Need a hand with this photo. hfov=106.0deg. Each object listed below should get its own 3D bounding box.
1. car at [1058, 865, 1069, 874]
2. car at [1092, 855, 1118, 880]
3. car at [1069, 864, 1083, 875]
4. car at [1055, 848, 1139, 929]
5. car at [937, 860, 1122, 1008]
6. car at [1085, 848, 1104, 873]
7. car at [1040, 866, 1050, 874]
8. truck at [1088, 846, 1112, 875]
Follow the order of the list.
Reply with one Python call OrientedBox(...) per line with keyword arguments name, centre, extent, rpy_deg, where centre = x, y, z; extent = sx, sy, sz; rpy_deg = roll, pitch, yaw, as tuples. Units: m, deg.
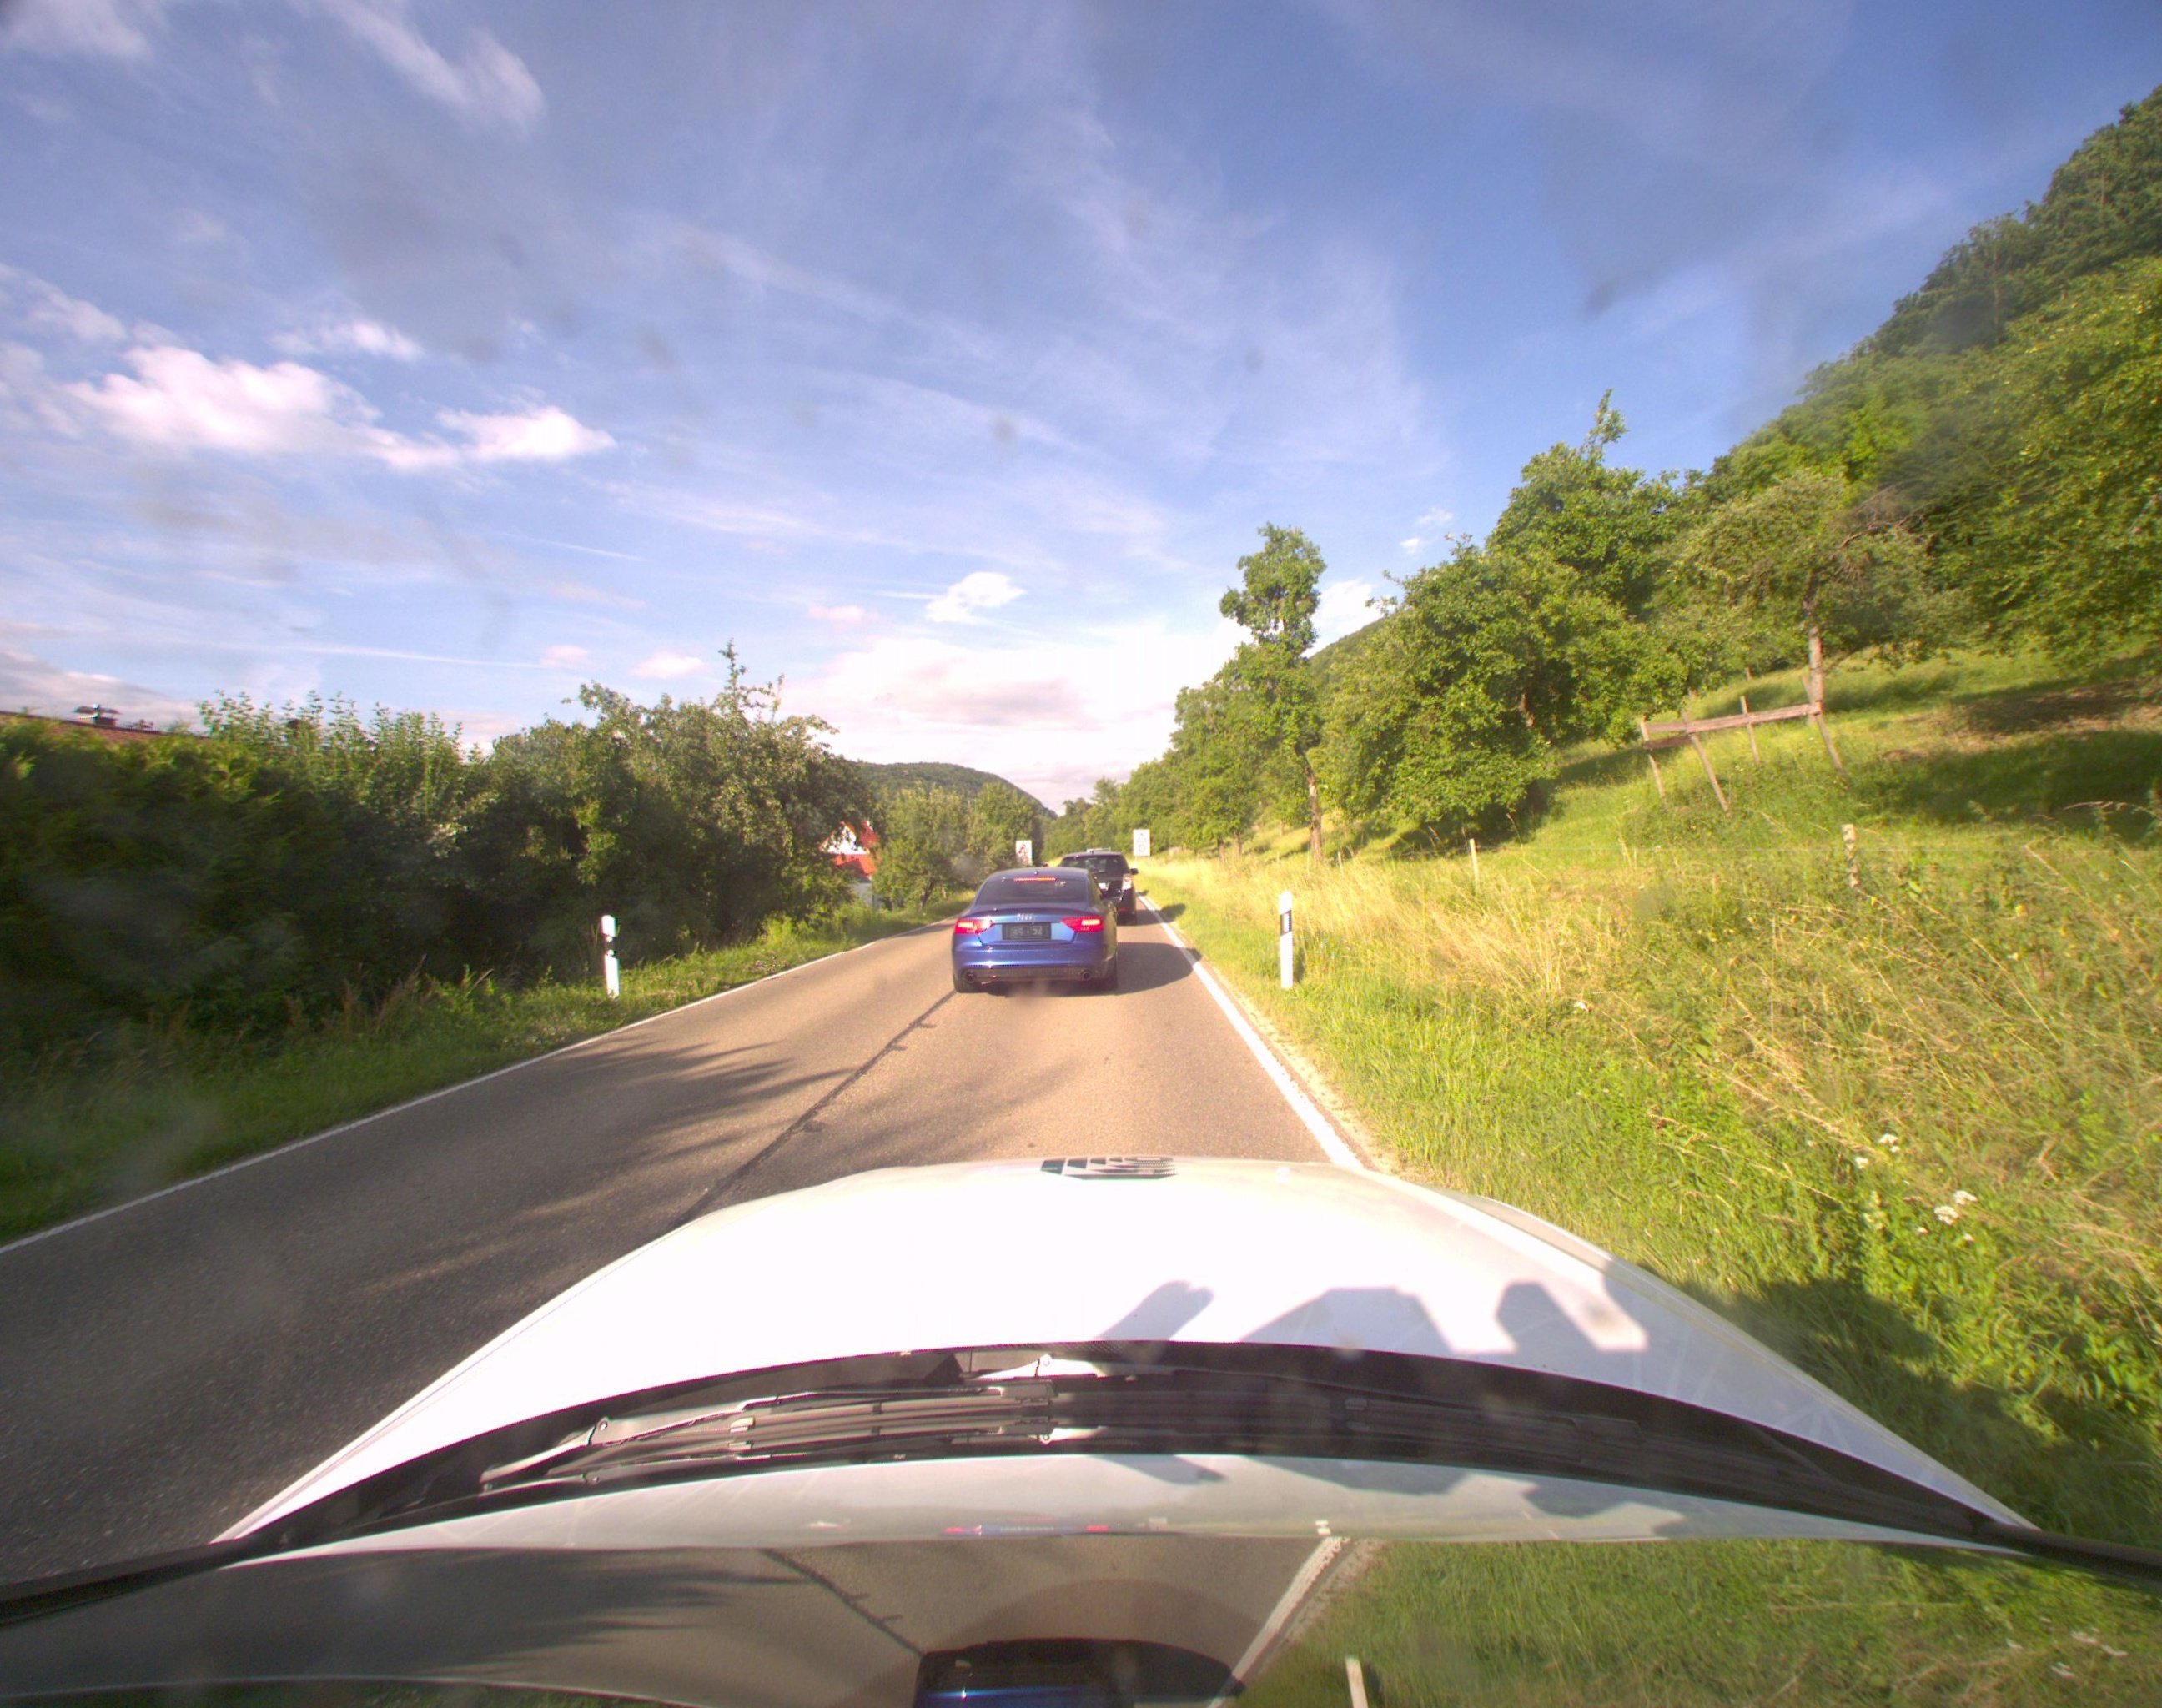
OrientedBox(name="car", centre=(-2.977, 2.699, 141.127), extent=(1.557, 1.496, 3.769), rpy_deg=(0, 0, -7))
OrientedBox(name="car", centre=(1.661, 0.889, 55.822), extent=(1.686, 1.624, 3.790), rpy_deg=(-1, 0, 2))
OrientedBox(name="car", centre=(-0.803, 2.387, 125.985), extent=(1.745, 1.496, 3.770), rpy_deg=(0, 0, -6))
OrientedBox(name="car", centre=(0.382, 0.702, 18.431), extent=(1.686, 1.624, 3.790), rpy_deg=(-1, 0, 2))
OrientedBox(name="car", centre=(-0.426, 0.802, 10.144), extent=(1.799, 1.382, 4.217), rpy_deg=(-1, 0, 2))
OrientedBox(name="car", centre=(1.309, 0.642, 80.283), extent=(1.787, 2.453, 3.917), rpy_deg=(0, 0, -1))
OrientedBox(name="car", centre=(-7.435, 3.255, 166.320), extent=(1.559, 1.496, 3.764), rpy_deg=(0, 0, -11))
OrientedBox(name="truck", centre=(1.638, 0.559, 70.634), extent=(1.943, 2.345, 5.094), rpy_deg=(0, 0, 1))
